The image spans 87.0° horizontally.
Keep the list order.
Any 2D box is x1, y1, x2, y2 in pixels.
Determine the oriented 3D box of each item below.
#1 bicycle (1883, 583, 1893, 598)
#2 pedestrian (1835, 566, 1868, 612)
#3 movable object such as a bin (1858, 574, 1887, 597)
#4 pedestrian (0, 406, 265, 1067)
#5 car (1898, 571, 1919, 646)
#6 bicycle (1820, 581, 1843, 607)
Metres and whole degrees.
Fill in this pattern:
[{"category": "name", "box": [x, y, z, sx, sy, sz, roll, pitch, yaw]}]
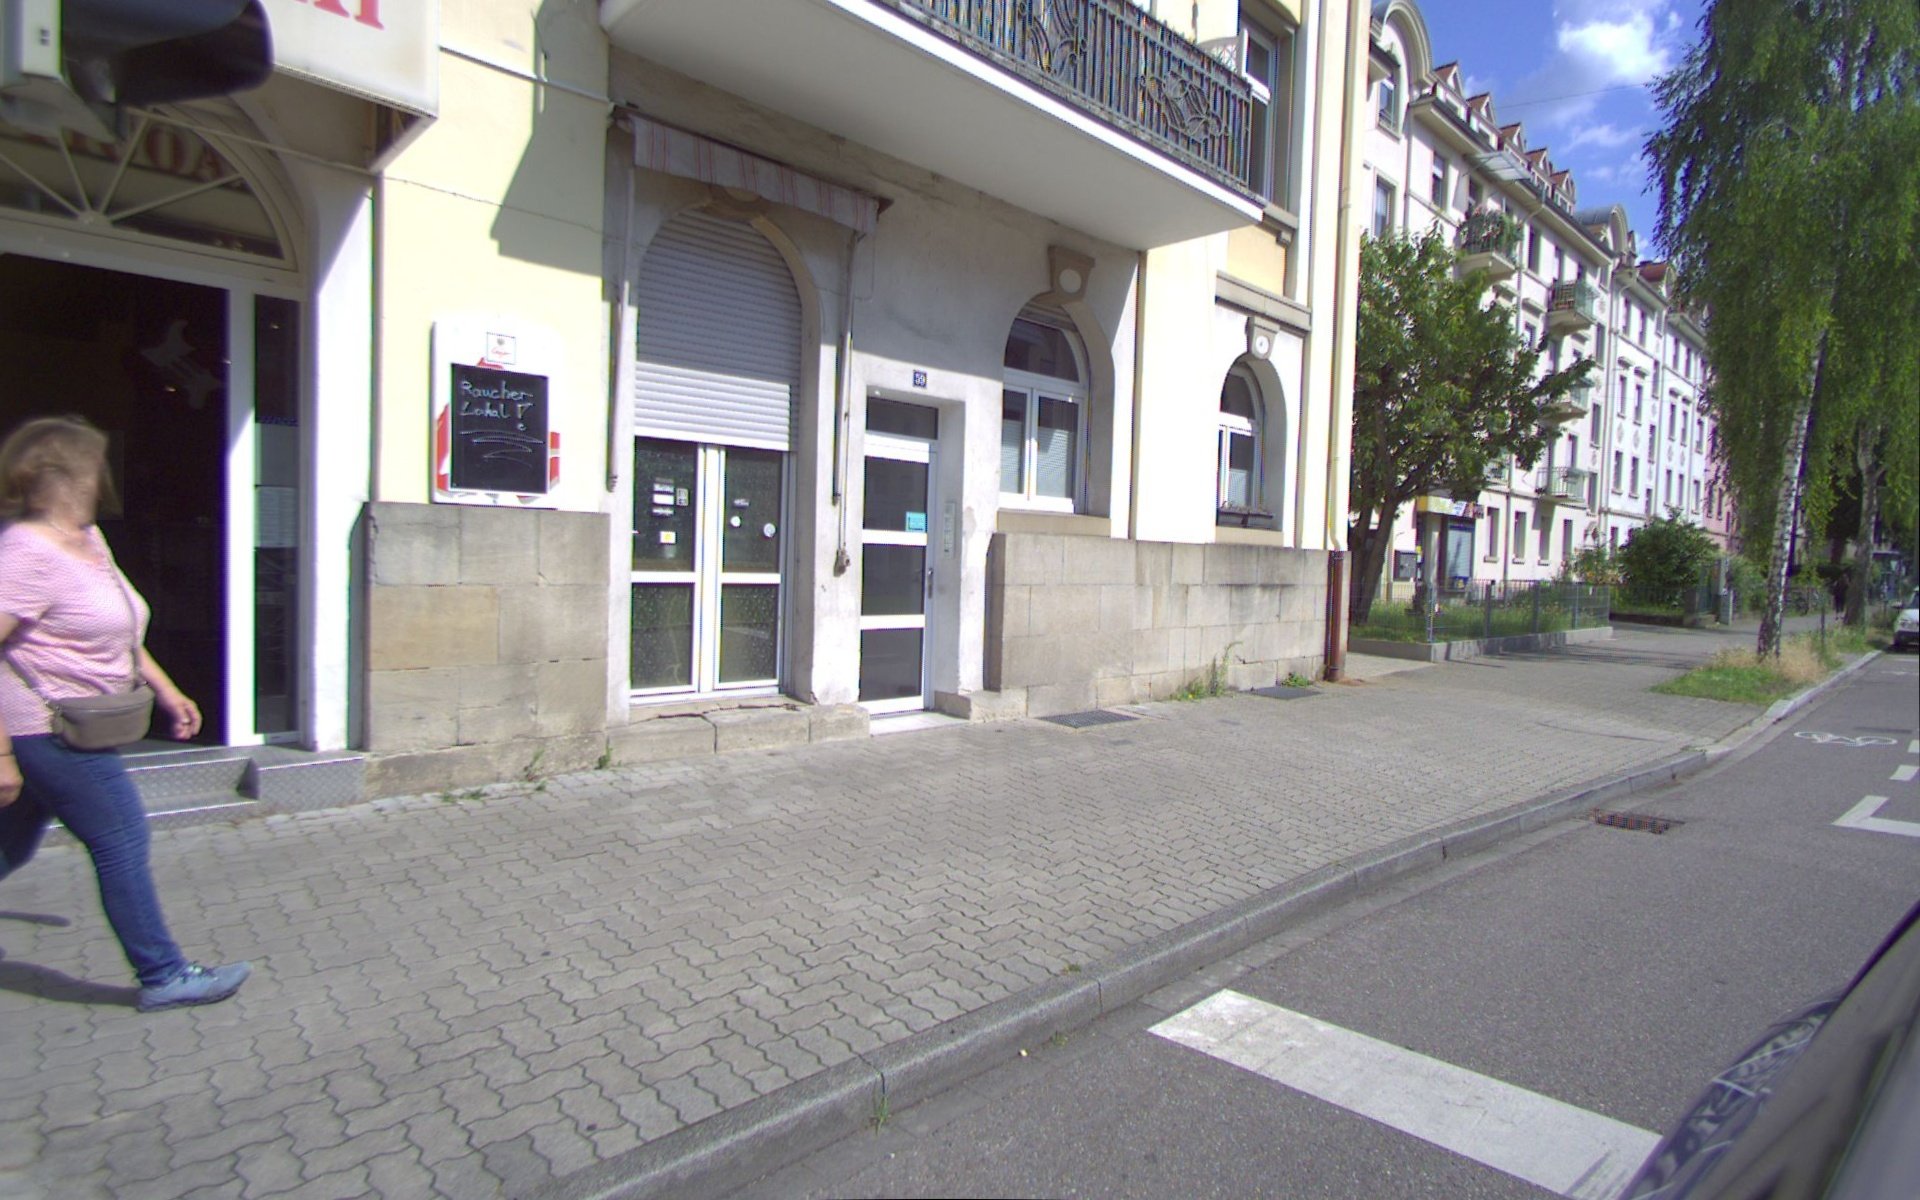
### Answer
[{"category": "bicycle", "box": [66.243, -0.687, 72.248, 1.457, 1.034, 0.350, -1, 6, -45]}, {"category": "pedestrian", "box": [34.064, -0.415, 38.687, 0.678, 1.703, 0.732, 0, 5, -40]}, {"category": "movable object such as a bin", "box": [65.147, -1.032, 72.219, 1.966, 1.510, 1.304, 0, 3, -43]}, {"category": "pedestrian", "box": [-2.456, 0.320, 2.864, 0.748, 1.667, 0.676, 0, 6, -31]}, {"category": "car", "box": [22.898, 0.178, 23.128, 3.930, 1.650, 1.724, -1, 1, -41]}, {"category": "bicycle", "box": [38.457, -0.281, 44.654, 2.145, 1.090, 0.472, 0, 3, -42]}]
